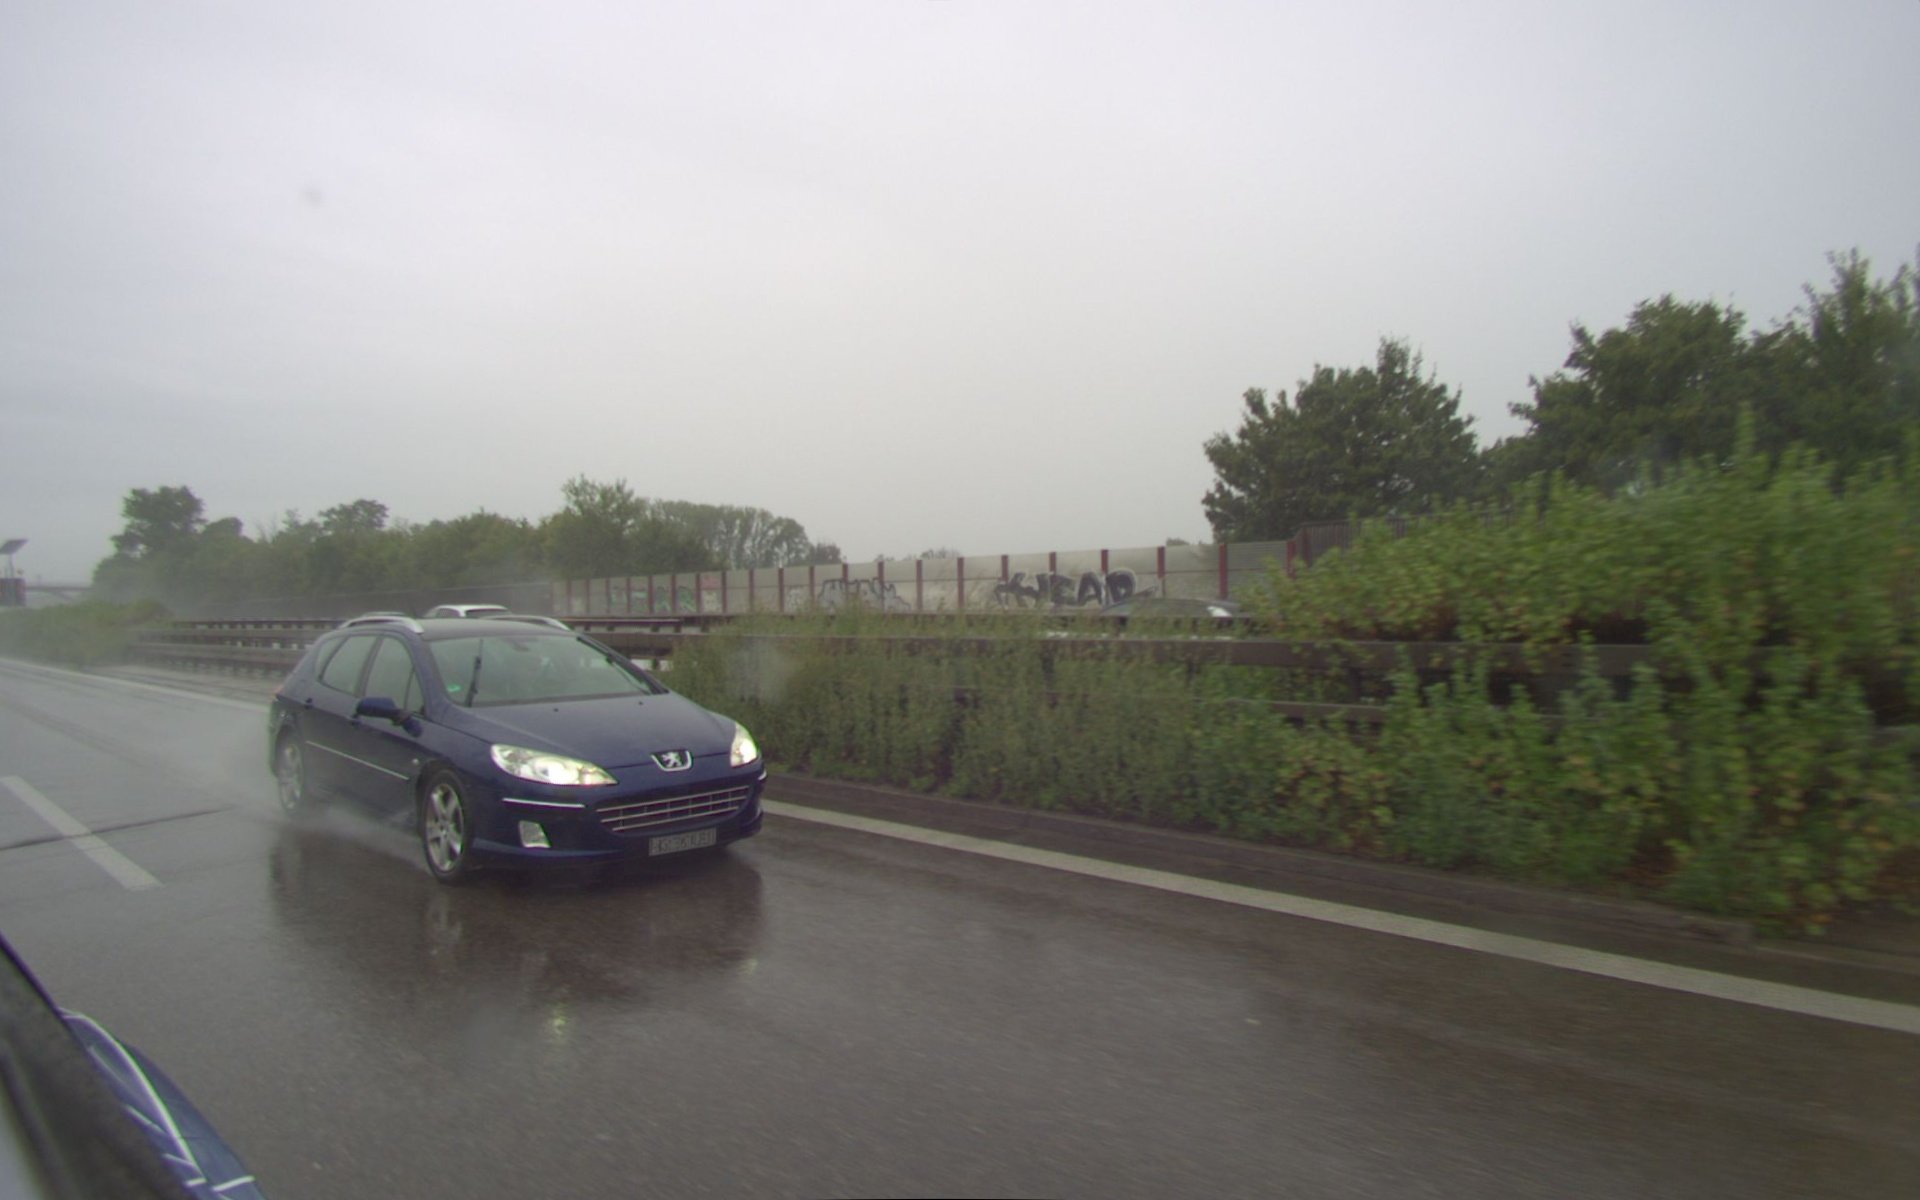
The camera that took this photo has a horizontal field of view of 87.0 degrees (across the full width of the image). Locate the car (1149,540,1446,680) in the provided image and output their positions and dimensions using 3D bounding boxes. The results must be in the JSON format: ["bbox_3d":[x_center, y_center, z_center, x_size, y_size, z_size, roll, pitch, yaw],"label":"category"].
[{"bbox_3d":[4.250,0.130,12.957,3.230,1.562,1.579,-1,0,41],"label":"car"}]

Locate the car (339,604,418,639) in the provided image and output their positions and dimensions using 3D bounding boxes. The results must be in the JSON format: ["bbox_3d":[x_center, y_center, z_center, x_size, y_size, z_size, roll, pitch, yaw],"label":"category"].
[{"bbox_3d":[-25.158,0.919,43.764,3.919,1.395,1.820,-1,0,42],"label":"car"}]

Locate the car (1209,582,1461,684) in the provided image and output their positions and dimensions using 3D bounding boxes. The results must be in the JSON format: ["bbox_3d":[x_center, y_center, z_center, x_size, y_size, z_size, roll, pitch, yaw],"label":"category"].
[{"bbox_3d":[5.621,0.476,15.342,3.230,1.374,1.579,-1,-1,41],"label":"car"}]

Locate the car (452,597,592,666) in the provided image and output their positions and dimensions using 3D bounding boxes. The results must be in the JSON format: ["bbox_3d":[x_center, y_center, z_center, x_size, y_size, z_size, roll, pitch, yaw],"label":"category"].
[{"bbox_3d":[-10.817,0.747,24.903,3.765,1.562,1.764,-1,-1,42],"label":"car"}]

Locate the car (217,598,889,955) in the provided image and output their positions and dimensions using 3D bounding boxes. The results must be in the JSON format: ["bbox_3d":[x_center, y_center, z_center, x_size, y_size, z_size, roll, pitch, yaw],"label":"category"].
[{"bbox_3d":[-3.025,0.791,6.763,5.155,1.496,2.033,-1,0,41],"label":"car"}]
